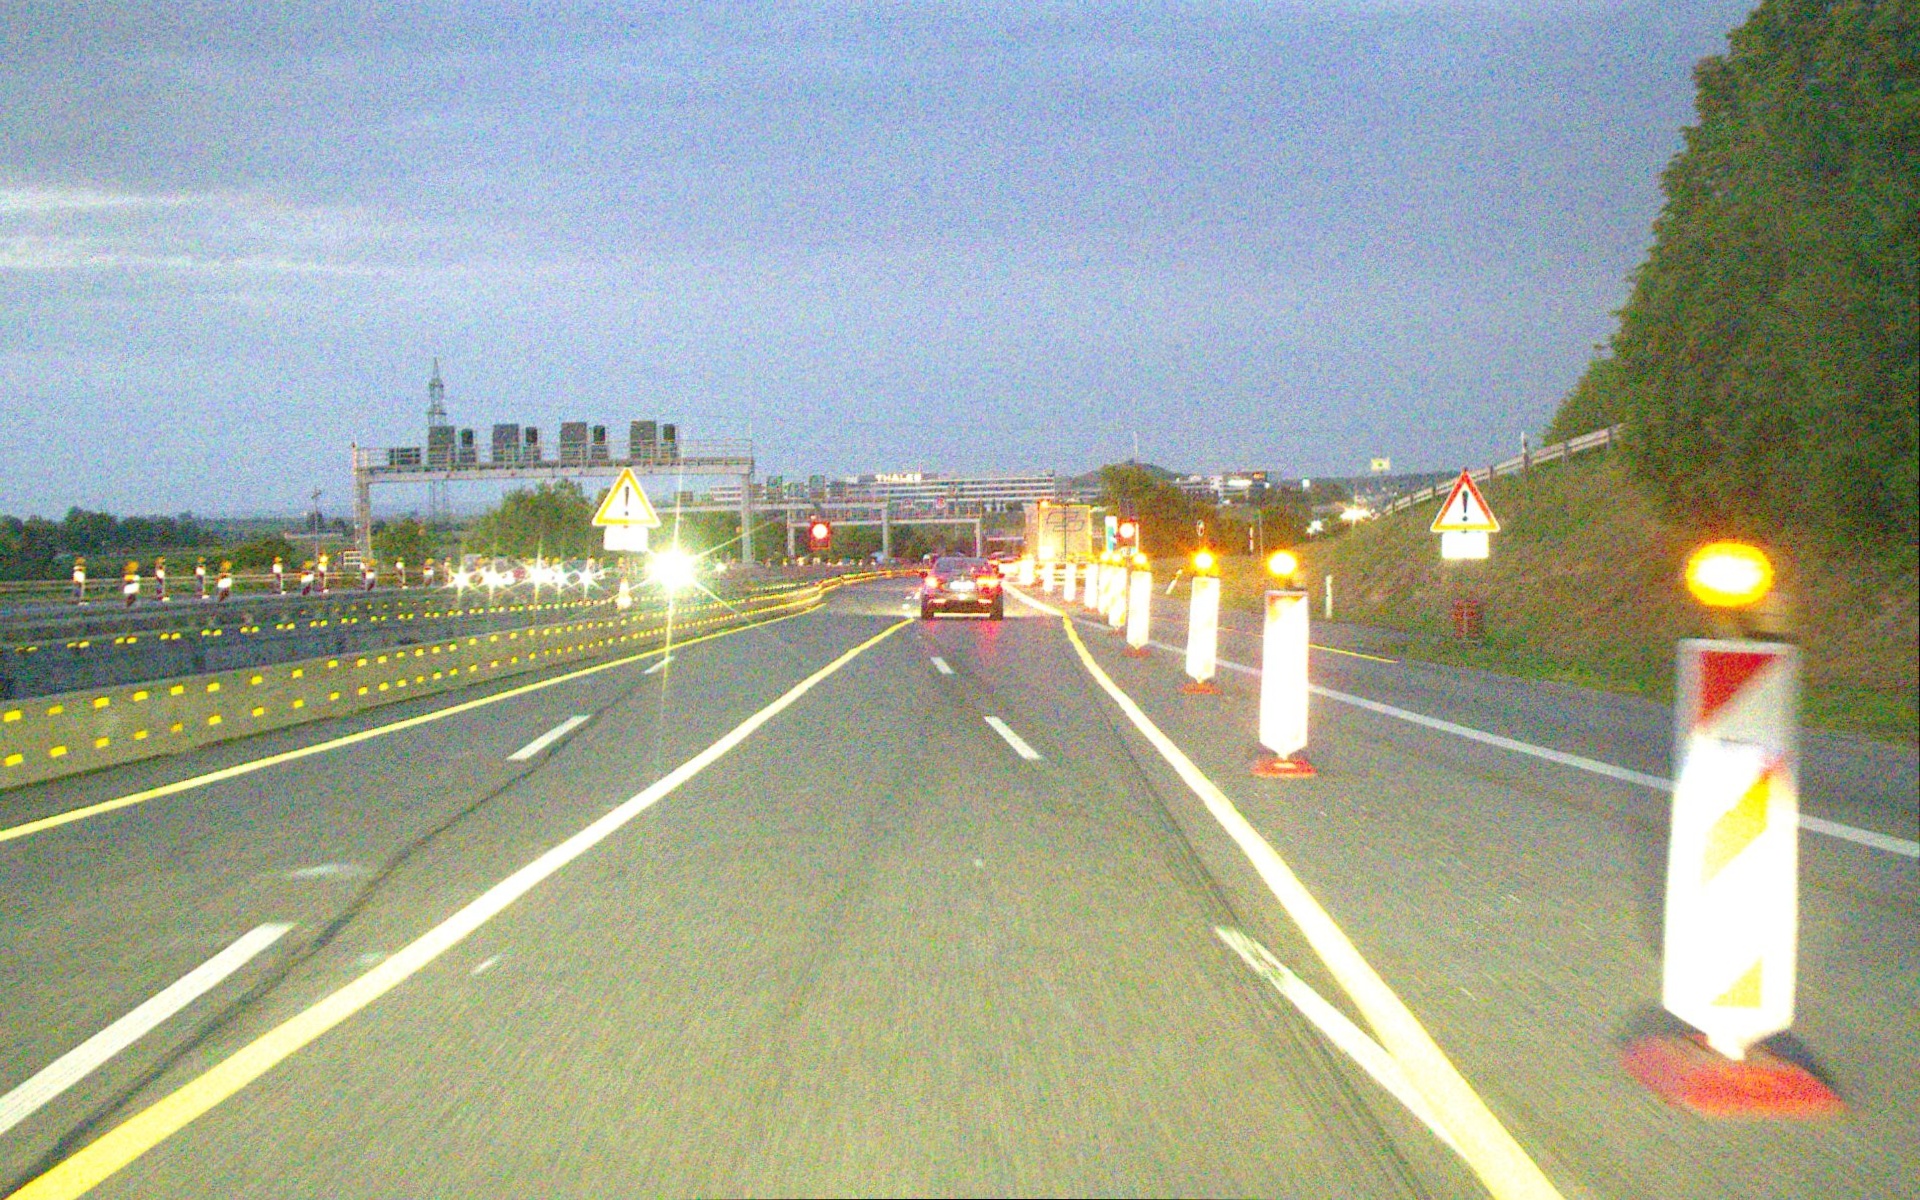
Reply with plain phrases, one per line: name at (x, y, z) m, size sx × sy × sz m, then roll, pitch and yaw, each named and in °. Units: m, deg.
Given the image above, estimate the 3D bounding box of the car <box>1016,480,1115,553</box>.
car at (5.075, -4.009, 167.224) m, size 3.604 × 3.384 × 8.016 m, roll 1°, pitch 1°, yaw -6°

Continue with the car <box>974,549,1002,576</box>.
car at (2.043, -2.777, 254.949) m, size 1.993 × 2.007 × 4.000 m, roll 1°, pitch 1°, yaw 0°

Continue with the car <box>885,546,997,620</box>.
car at (-0.476, -0.411, 79.207) m, size 2.265 × 1.616 × 4.001 m, roll 1°, pitch 1°, yaw -4°

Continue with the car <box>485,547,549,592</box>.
car at (-17.524, -1.221, 136.195) m, size 1.993 × 1.708 × 4.000 m, roll 1°, pitch 1°, yaw 0°

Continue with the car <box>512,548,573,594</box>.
car at (-17.389, -1.208, 143.263) m, size 1.993 × 1.821 × 4.000 m, roll 1°, pitch 1°, yaw 0°

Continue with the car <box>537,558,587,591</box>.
car at (-18.723, -1.213, 162.046) m, size 1.763 × 1.459 × 4.690 m, roll 1°, pitch 1°, yaw 0°
